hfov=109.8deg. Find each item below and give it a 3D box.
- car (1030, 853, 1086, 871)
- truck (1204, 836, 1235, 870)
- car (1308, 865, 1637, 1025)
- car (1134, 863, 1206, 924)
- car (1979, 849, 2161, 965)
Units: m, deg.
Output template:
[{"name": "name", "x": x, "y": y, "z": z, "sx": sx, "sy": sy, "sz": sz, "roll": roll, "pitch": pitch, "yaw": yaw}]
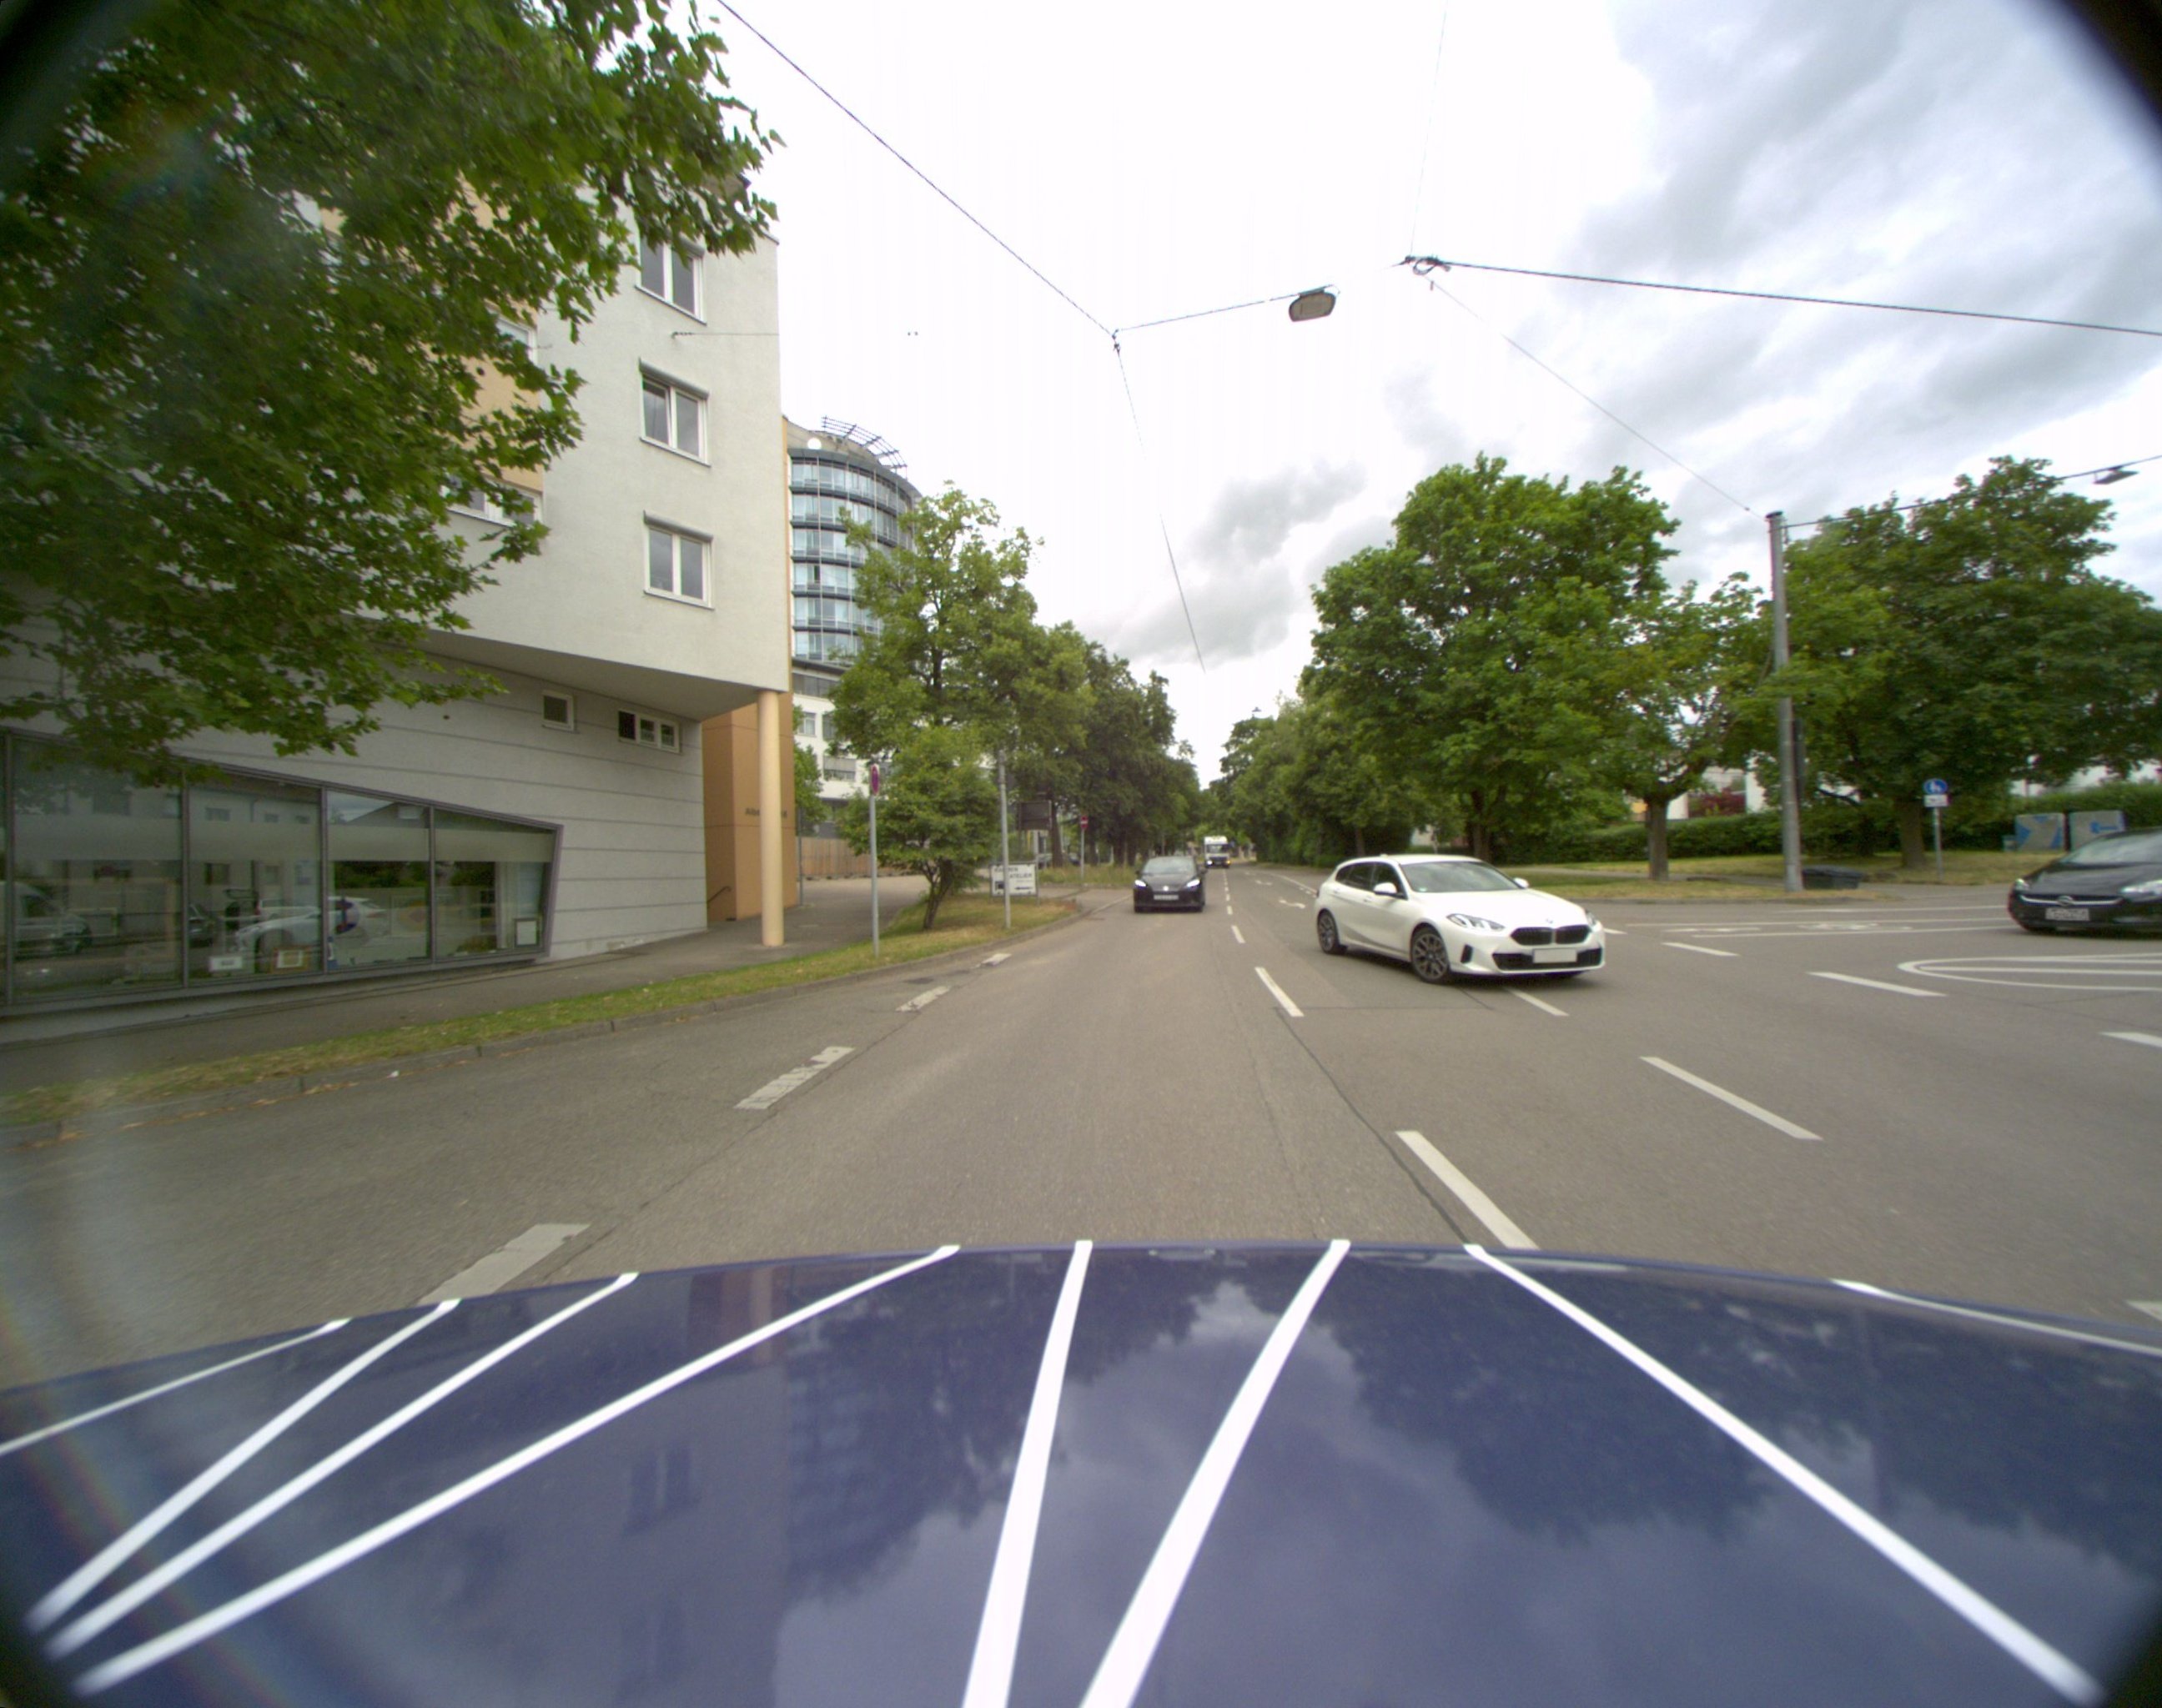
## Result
[{"name": "car", "x": -2.050, "y": 0.678, "z": 68.011, "sx": 4.751, "sy": 1.508, "sz": 1.866, "roll": 0, "pitch": 0, "yaw": -34}, {"name": "truck", "x": 13.815, "y": -0.129, "z": 76.091, "sx": 2.435, "sy": 3.176, "sz": 6.468, "roll": -1, "pitch": 0, "yaw": 5}, {"name": "car", "x": 4.594, "y": 0.942, "z": 9.757, "sx": 1.801, "sy": 1.508, "sz": 4.205, "roll": -2, "pitch": 0, "yaw": -4}, {"name": "car", "x": 2.440, "y": 1.027, "z": 21.246, "sx": 1.799, "sy": 1.475, "sz": 4.021, "roll": 0, "pitch": 0, "yaw": 5}, {"name": "car", "x": 15.195, "y": 0.644, "z": 10.627, "sx": 4.001, "sy": 1.328, "sz": 1.643, "roll": -3, "pitch": -1, "yaw": -11}]
